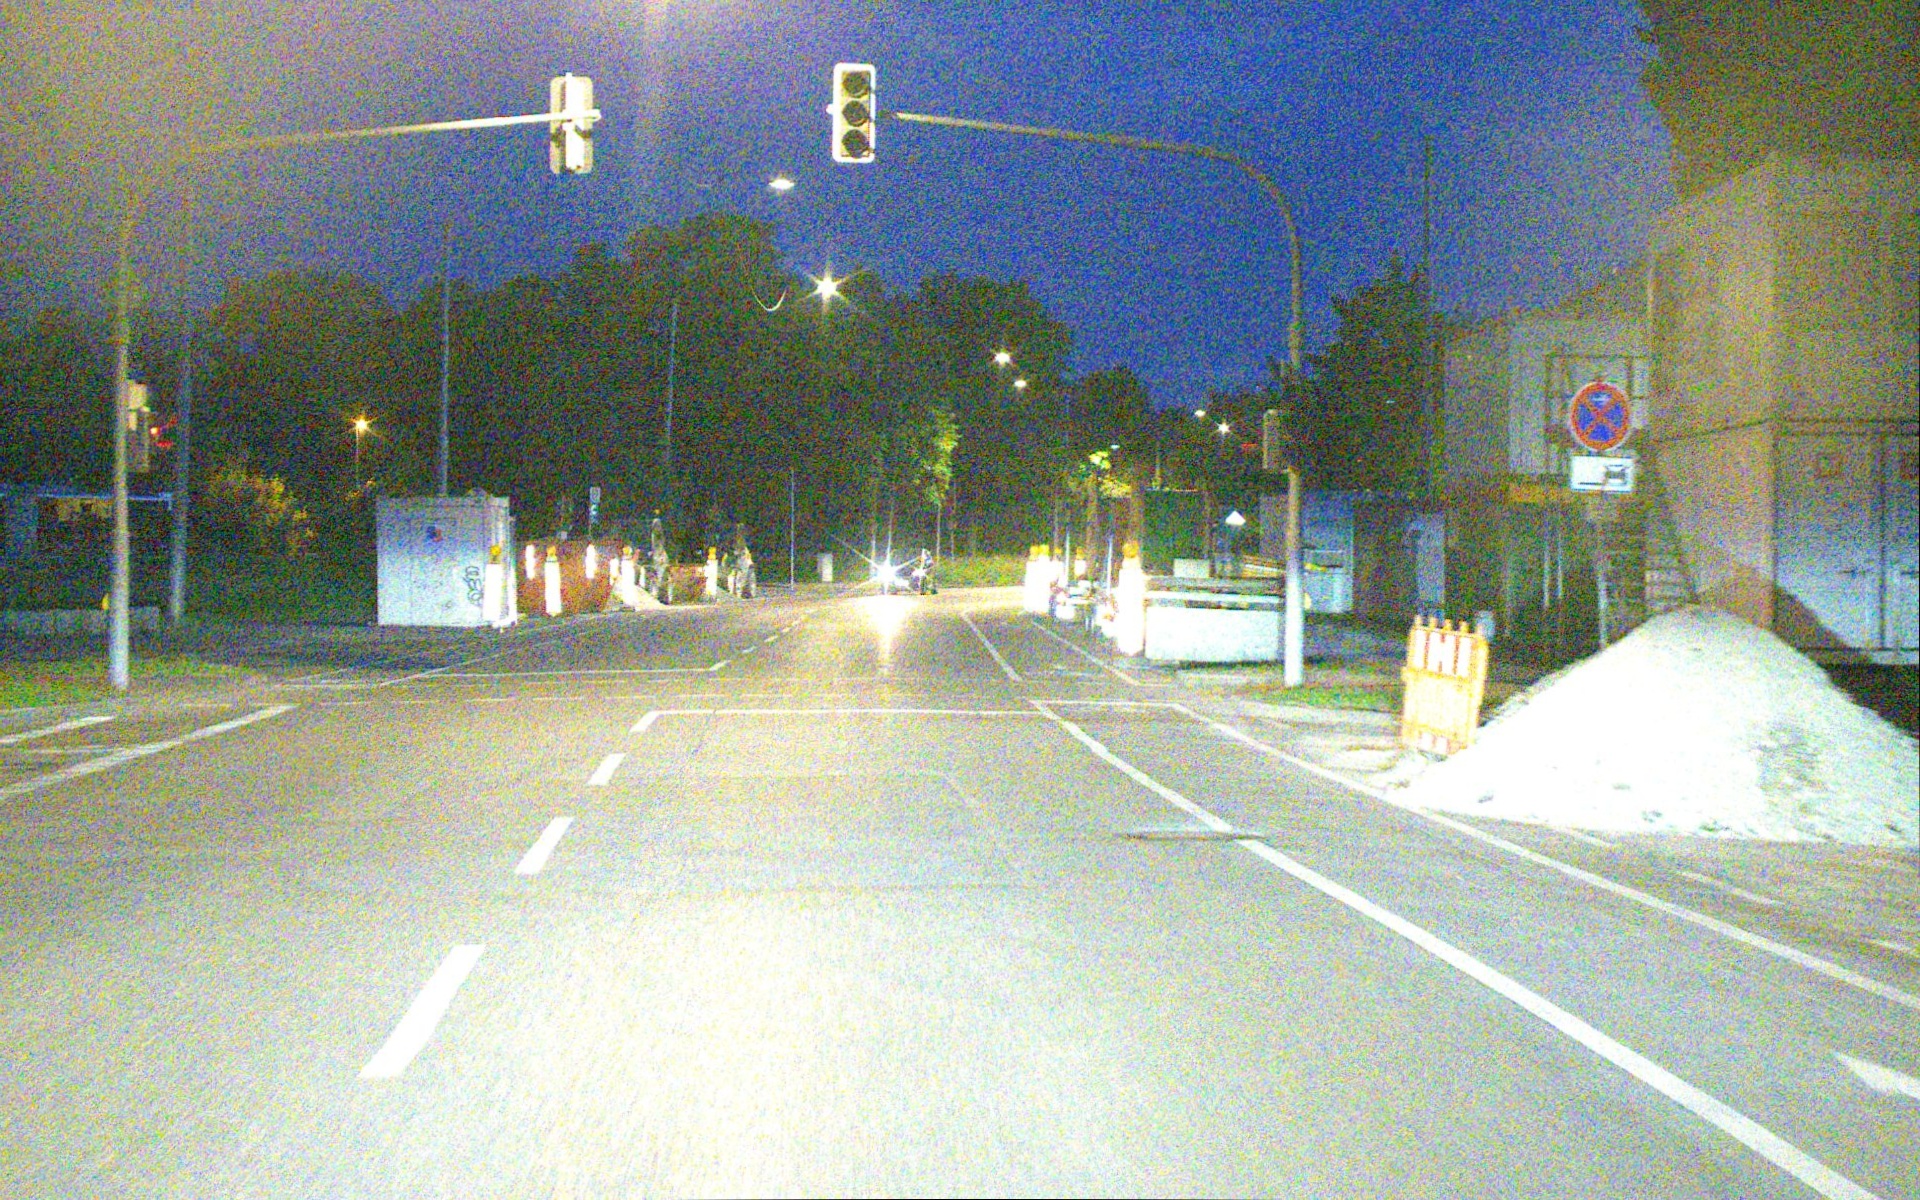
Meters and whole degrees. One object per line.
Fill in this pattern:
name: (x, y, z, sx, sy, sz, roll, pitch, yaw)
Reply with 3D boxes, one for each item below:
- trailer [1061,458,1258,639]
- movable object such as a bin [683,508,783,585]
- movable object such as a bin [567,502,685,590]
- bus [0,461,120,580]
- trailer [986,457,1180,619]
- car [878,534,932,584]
trailer: (3.316, -0.846, 58.197, 2.613, 2.836, 4.710, 2, 0, -4)
movable object such as a bin: (-7.109, -1.663, 108.130, 1.994, 2.368, 4.700, 0, 1, 11)
movable object such as a bin: (-9.256, -1.502, 95.694, 1.994, 2.368, 4.700, 0, 1, 11)
bus: (-27.141, -2.134, 92.120, 3.015, 3.193, 12.663, 1, 1, 16)
trailer: (2.546, -1.288, 73.002, 3.481, 3.208, 4.866, 2, 0, -4)
car: (-1.822, -1.363, 113.834, 1.696, 1.571, 2.957, -2, 1, -1)
